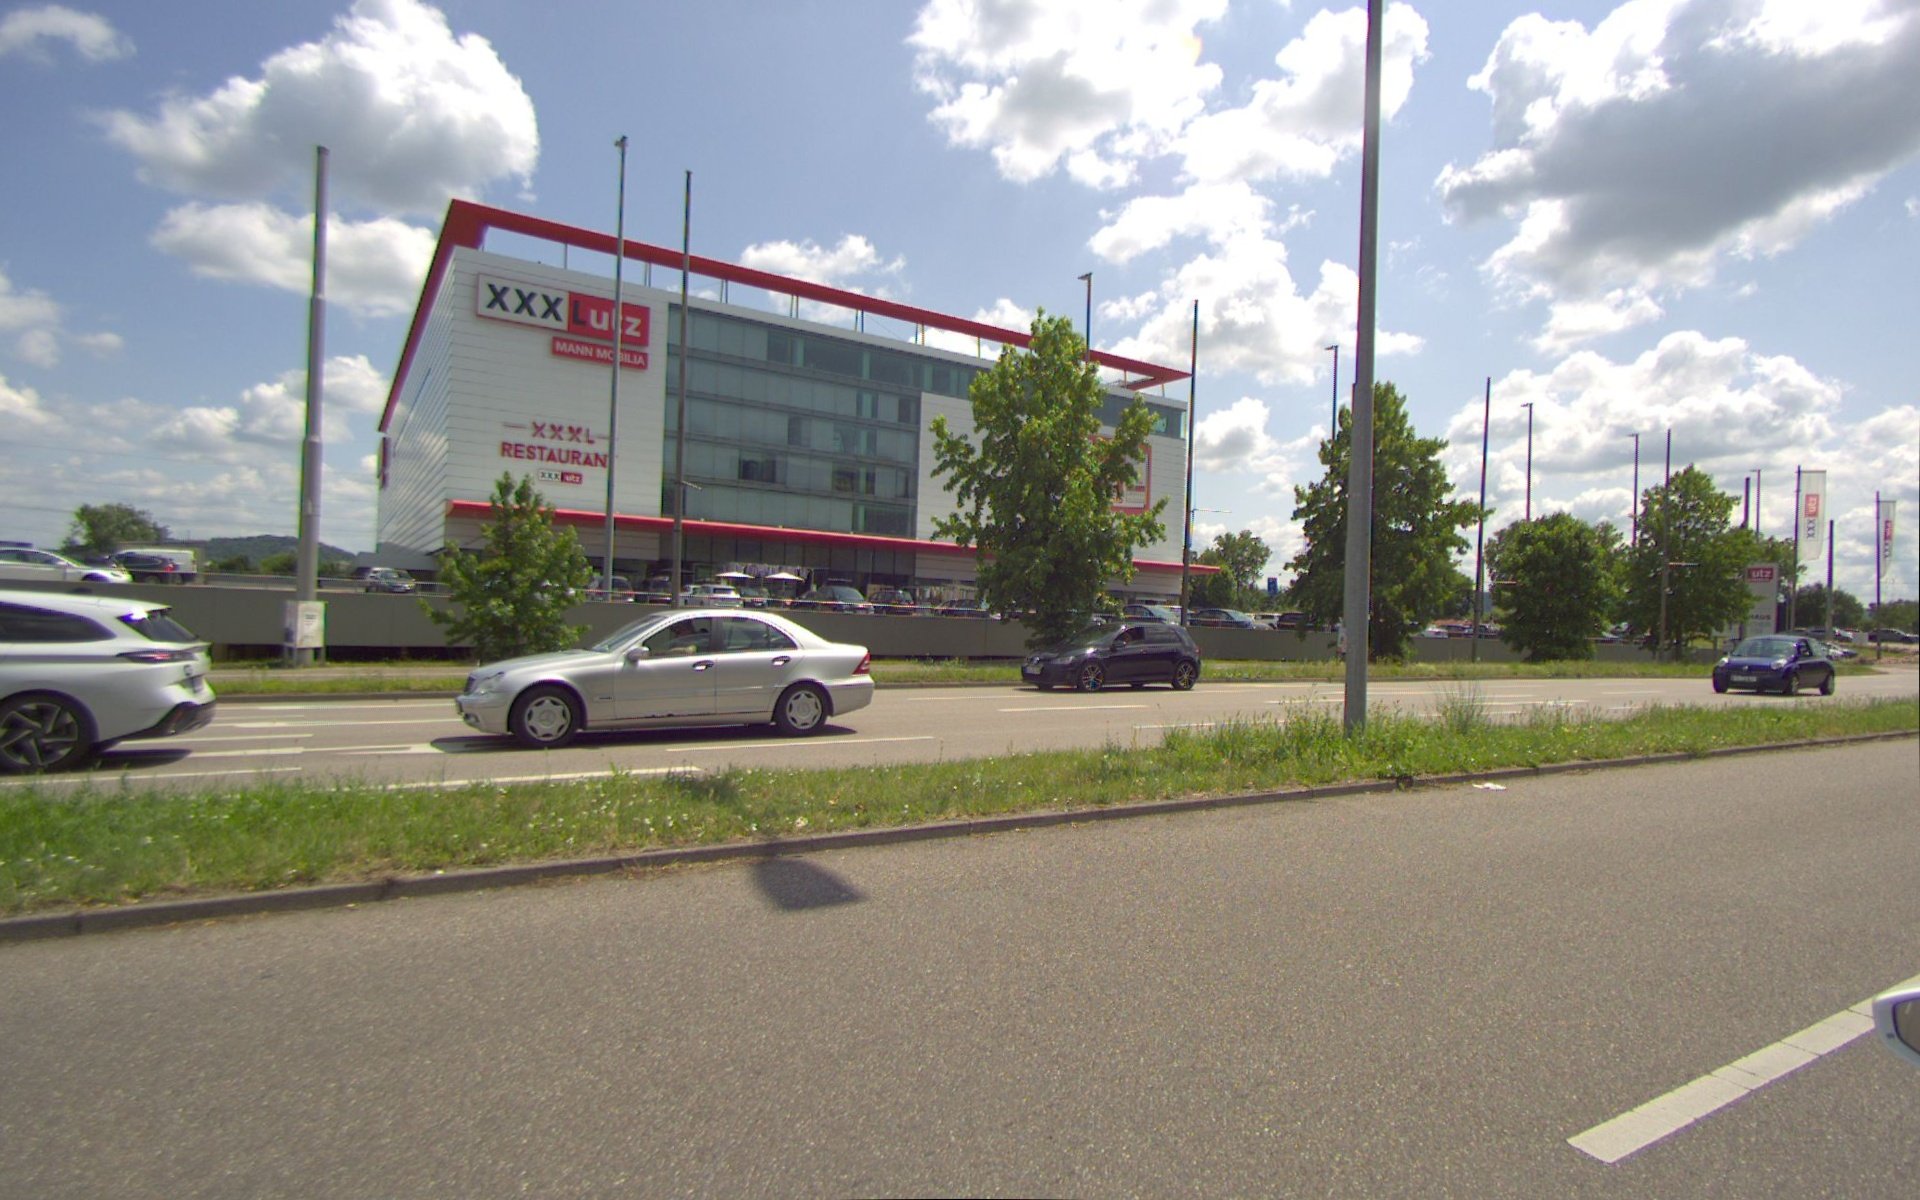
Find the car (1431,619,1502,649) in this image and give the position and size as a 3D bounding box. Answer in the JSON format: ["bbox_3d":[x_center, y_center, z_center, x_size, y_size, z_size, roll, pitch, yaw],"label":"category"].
[{"bbox_3d":[37.569,2.530,74.577,1.979,2.015,4.322,2,0,-33],"label":"car"}]

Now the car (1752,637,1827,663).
[{"bbox_3d":[67.672,4.056,81.999,1.979,2.015,4.322,2,-1,-33],"label":"car"}]

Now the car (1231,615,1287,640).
[{"bbox_3d":[25.290,2.315,85.092,1.979,2.015,4.322,2,-1,-33],"label":"car"}]

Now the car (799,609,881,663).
[{"bbox_3d":[-5.582,1.623,46.218,1.979,2.360,4.322,2,-1,-33],"label":"car"}]

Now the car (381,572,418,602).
[{"bbox_3d":[-30.021,-0.648,53.828,1.571,1.489,3.806,1,-1,-27],"label":"car"}]

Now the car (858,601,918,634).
[{"bbox_3d":[-4.625,1.110,64.141,1.979,2.015,4.322,2,-1,-33],"label":"car"}]

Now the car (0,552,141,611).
[{"bbox_3d":[-30.459,-0.585,33.531,4.626,1.857,1.838,1,-1,-34],"label":"car"}]

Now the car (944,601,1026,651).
[{"bbox_3d":[1.206,1.286,50.465,1.979,2.360,4.322,2,-1,-33],"label":"car"}]

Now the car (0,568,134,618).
[{"bbox_3d":[-35.018,-0.234,39.452,3.797,1.857,1.837,1,-1,-36],"label":"car"}]

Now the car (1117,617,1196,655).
[{"bbox_3d":[11.091,1.988,57.007,1.979,2.016,4.322,0,0,-33],"label":"car"}]

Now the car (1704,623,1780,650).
[{"bbox_3d":[61.262,2.829,78.734,1.979,2.015,4.322,2,-1,-33],"label":"car"}]

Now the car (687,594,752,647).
[{"bbox_3d":[-11.373,0.943,47.324,1.975,2.360,4.332,2,-1,-28],"label":"car"}]

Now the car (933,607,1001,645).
[{"bbox_3d":[0.366,1.454,56.197,1.979,2.040,3.964,1,-1,-33],"label":"car"}]

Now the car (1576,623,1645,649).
[{"bbox_3d":[56.180,3.066,86.769,1.979,2.015,4.554,3,-1,-33],"label":"car"}]

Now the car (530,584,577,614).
[{"bbox_3d":[-21.751,-0.015,53.689,1.834,1.489,3.802,1,-1,-30],"label":"car"}]

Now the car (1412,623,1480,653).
[{"bbox_3d":[35.466,2.759,73.404,1.824,2.015,4.046,2,0,-34],"label":"car"}]

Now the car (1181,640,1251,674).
[{"bbox_3d":[17.062,3.778,67.149,1.979,2.015,4.322,2,-1,-33],"label":"car"}]

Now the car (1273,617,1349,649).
[{"bbox_3d":[22.764,2.131,65.286,1.979,2.015,4.322,2,-1,-33],"label":"car"}]

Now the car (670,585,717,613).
[{"bbox_3d":[-15.344,-0.022,57.682,1.661,1.489,3.801,1,-1,-31],"label":"car"}]

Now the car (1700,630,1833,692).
[{"bbox_3d":[21.187,1.605,26.361,3.638,1.494,1.728,3,-2,-34],"label":"car"}]

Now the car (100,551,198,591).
[{"bbox_3d":[-42.254,-1.489,52.469,3.794,1.857,1.838,1,-1,-35],"label":"car"}]

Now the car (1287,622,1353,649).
[{"bbox_3d":[26.384,2.604,73.737,1.759,1.855,4.322,2,-1,-33],"label":"car"}]

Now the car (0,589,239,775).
[{"bbox_3d":[-8.683,0.635,7.860,4.791,1.420,1.782,1,-2,-32],"label":"car"}]

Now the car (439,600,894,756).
[{"bbox_3d":[-3.188,0.779,11.252,4.621,1.436,1.783,1,-2,-31],"label":"car"}]

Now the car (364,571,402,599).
[{"bbox_3d":[-35.836,-0.909,62.340,1.836,1.565,3.799,1,-1,-33],"label":"car"}]

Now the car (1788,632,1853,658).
[{"bbox_3d":[71.626,3.735,83.640,1.986,2.040,3.949,2,-1,-43],"label":"car"}]

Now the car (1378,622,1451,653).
[{"bbox_3d":[31.822,2.608,70.422,1.979,2.015,4.322,2,-1,-33],"label":"car"}]

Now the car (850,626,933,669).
[{"bbox_3d":[-2.839,1.880,40.844,1.828,1.617,3.968,1,-1,-30],"label":"car"}]

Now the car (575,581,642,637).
[{"bbox_3d":[-15.797,0.436,45.025,1.977,2.360,4.327,2,-1,-30],"label":"car"}]

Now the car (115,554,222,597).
[{"bbox_3d":[-37.608,-1.117,47.867,3.791,1.857,1.840,1,-1,-33],"label":"car"}]

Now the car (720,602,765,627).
[{"bbox_3d":[-13.928,0.926,64.115,1.661,1.489,3.801,1,-1,-31],"label":"car"}]

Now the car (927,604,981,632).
[{"bbox_3d":[-0.503,1.305,74.499,1.979,2.015,4.323,1,-1,-33],"label":"car"}]

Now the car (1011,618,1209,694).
[{"bbox_3d":[3.235,1.147,21.446,4.068,1.489,1.611,1,-1,-30],"label":"car"}]

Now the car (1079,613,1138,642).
[{"bbox_3d":[10.973,2.006,74.477,1.979,2.015,4.322,2,-1,-33],"label":"car"}]

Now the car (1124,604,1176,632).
[{"bbox_3d":[16.418,1.564,86.932,1.850,2.337,4.529,2,-1,-33],"label":"car"}]
